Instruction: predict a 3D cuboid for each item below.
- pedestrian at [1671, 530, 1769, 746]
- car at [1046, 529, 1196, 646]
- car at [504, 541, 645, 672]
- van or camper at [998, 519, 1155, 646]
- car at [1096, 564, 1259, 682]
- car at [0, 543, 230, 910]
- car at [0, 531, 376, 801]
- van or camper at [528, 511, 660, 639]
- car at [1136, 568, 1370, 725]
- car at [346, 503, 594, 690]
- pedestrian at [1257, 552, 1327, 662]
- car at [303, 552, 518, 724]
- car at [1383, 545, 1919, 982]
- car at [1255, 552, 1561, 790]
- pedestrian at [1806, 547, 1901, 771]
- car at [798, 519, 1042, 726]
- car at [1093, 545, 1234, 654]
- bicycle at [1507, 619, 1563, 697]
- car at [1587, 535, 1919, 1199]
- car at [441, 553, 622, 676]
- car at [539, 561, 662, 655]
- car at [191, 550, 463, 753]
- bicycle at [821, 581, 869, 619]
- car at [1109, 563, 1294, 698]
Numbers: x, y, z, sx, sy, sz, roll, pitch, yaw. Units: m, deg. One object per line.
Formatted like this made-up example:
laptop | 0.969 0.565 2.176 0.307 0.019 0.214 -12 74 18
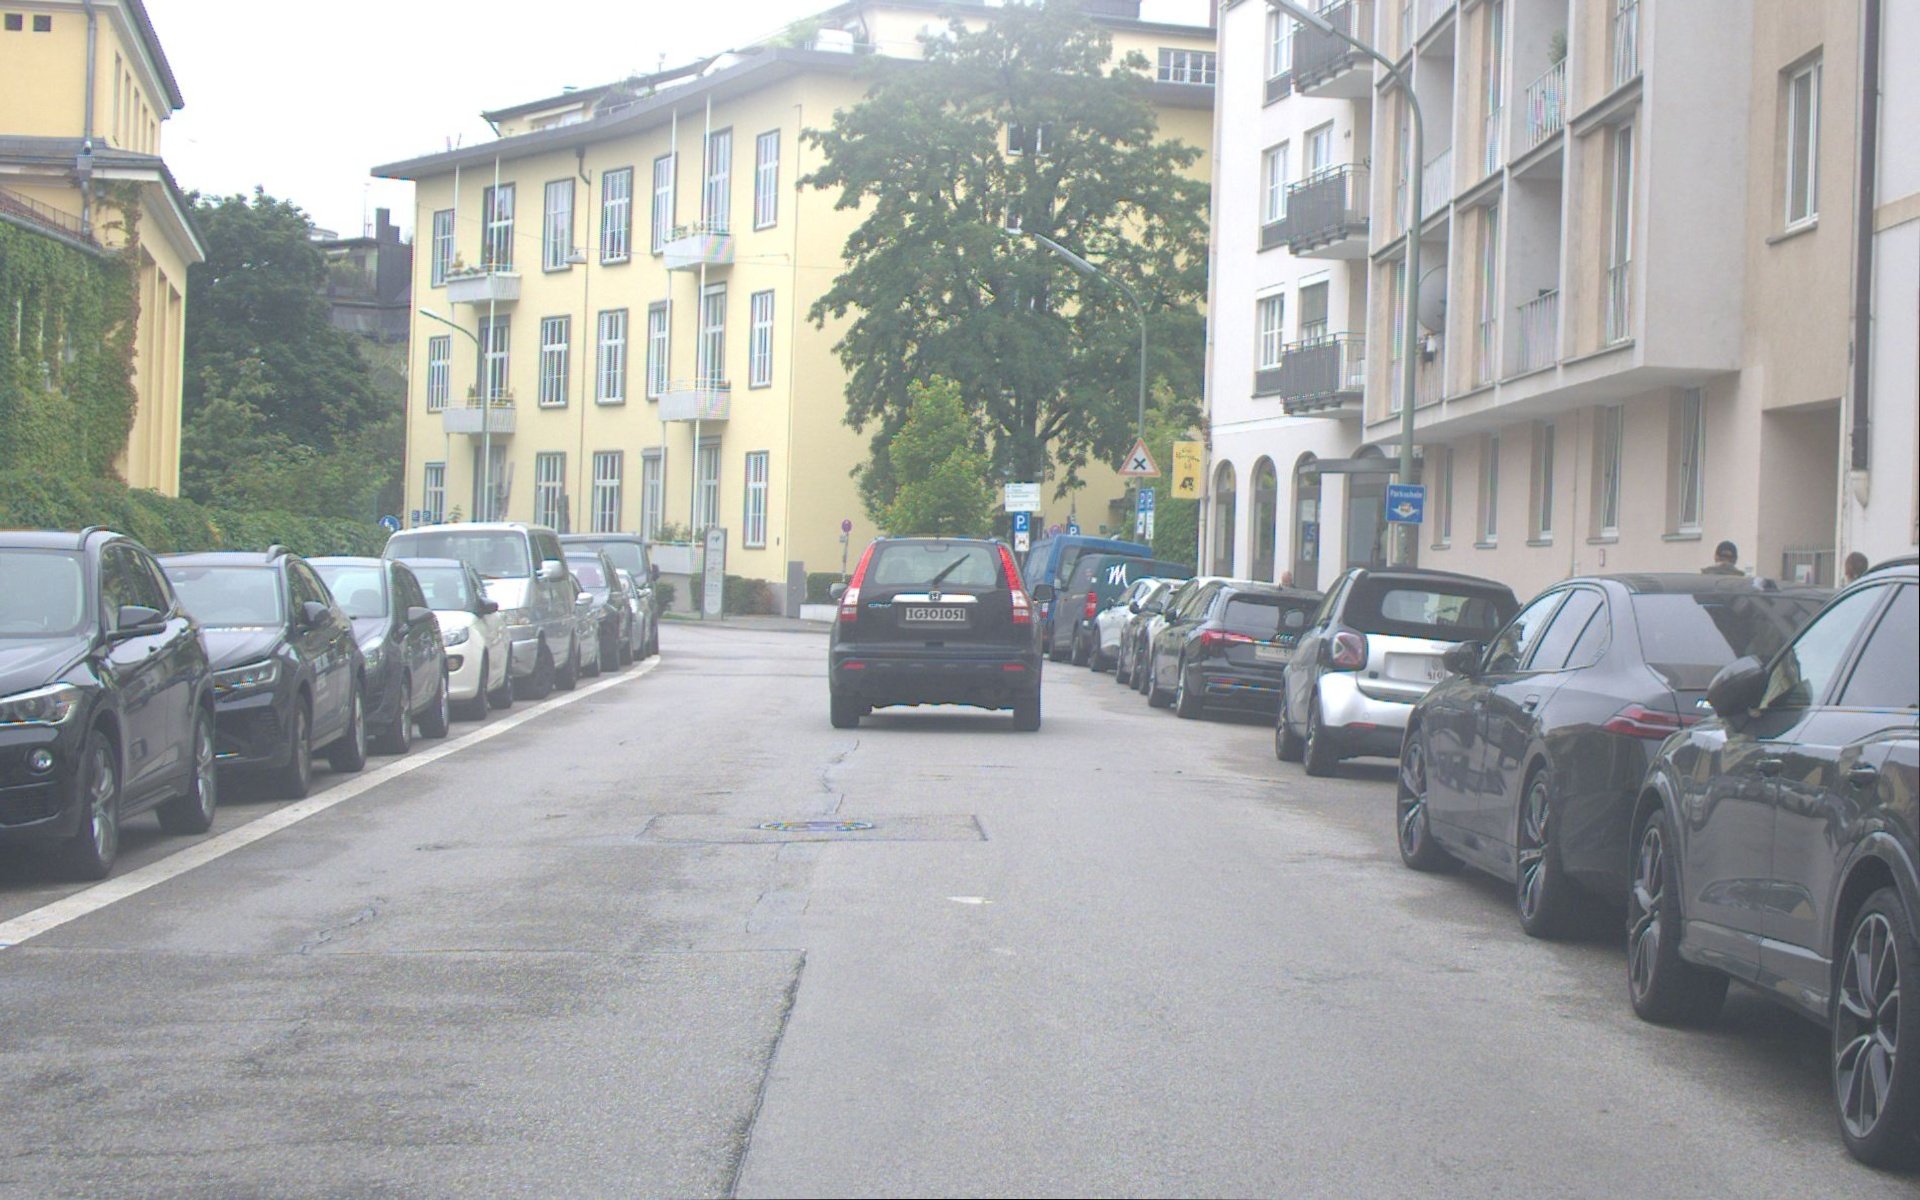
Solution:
pedestrian | 5.874 0.286 26.589 0.596 1.648 0.630 1 1 -1
car | 2.639 -0.253 57.499 1.964 1.810 4.936 1 1 -3
car | -5.331 0.055 47.990 1.619 1.724 4.425 1 1 -2
van or camper | 2.091 -0.362 63.339 2.060 2.223 5.439 0 1 -7
car | 2.913 0.281 46.926 1.739 1.494 4.496 0 1 -3
car | -4.734 0.497 16.455 1.781 1.532 4.196 0 1 -3
car | -4.853 0.342 21.791 1.781 1.532 4.149 1 1 -3
van or camper | -6.151 -0.453 58.154 1.960 2.058 4.754 1 1 -3
car | 3.000 0.435 36.064 1.796 1.416 4.483 4 1 -3
car | -5.195 -0.079 37.047 1.993 1.869 4.758 1 1 0
pedestrian | 5.209 0.100 53.975 0.898 1.682 1.320 1 0 -2
car | -5.068 0.311 32.083 1.578 1.487 3.731 1 1 -3
car | 3.121 0.562 14.903 1.855 1.539 4.816 1 1 -1
car | 3.310 0.473 26.076 1.671 1.529 3.881 4 1 -1
pedestrian | 6.386 0.412 24.585 0.531 1.579 0.560 0 1 -1
car | -0.292 0.148 30.512 1.995 1.688 4.380 1 1 1
car | 3.035 -0.040 52.030 1.739 1.532 4.274 1 1 -2
bicycle | 7.206 0.720 43.120 0.444 0.932 1.401 0 1 -1
car | 3.145 0.658 9.947 1.778 1.579 4.272 4 1 0
car | -5.273 0.142 42.783 1.701 1.418 4.425 1 1 0
car | -5.561 0.099 53.499 1.619 1.373 4.072 0 1 -2
car | -4.865 0.345 26.858 1.578 1.450 3.905 1 1 -3
bicycle | -3.452 -0.009 102.898 0.608 1.069 2.218 1 1 -24
car | 2.895 0.334 41.991 1.739 1.494 4.220 2 1 -3
